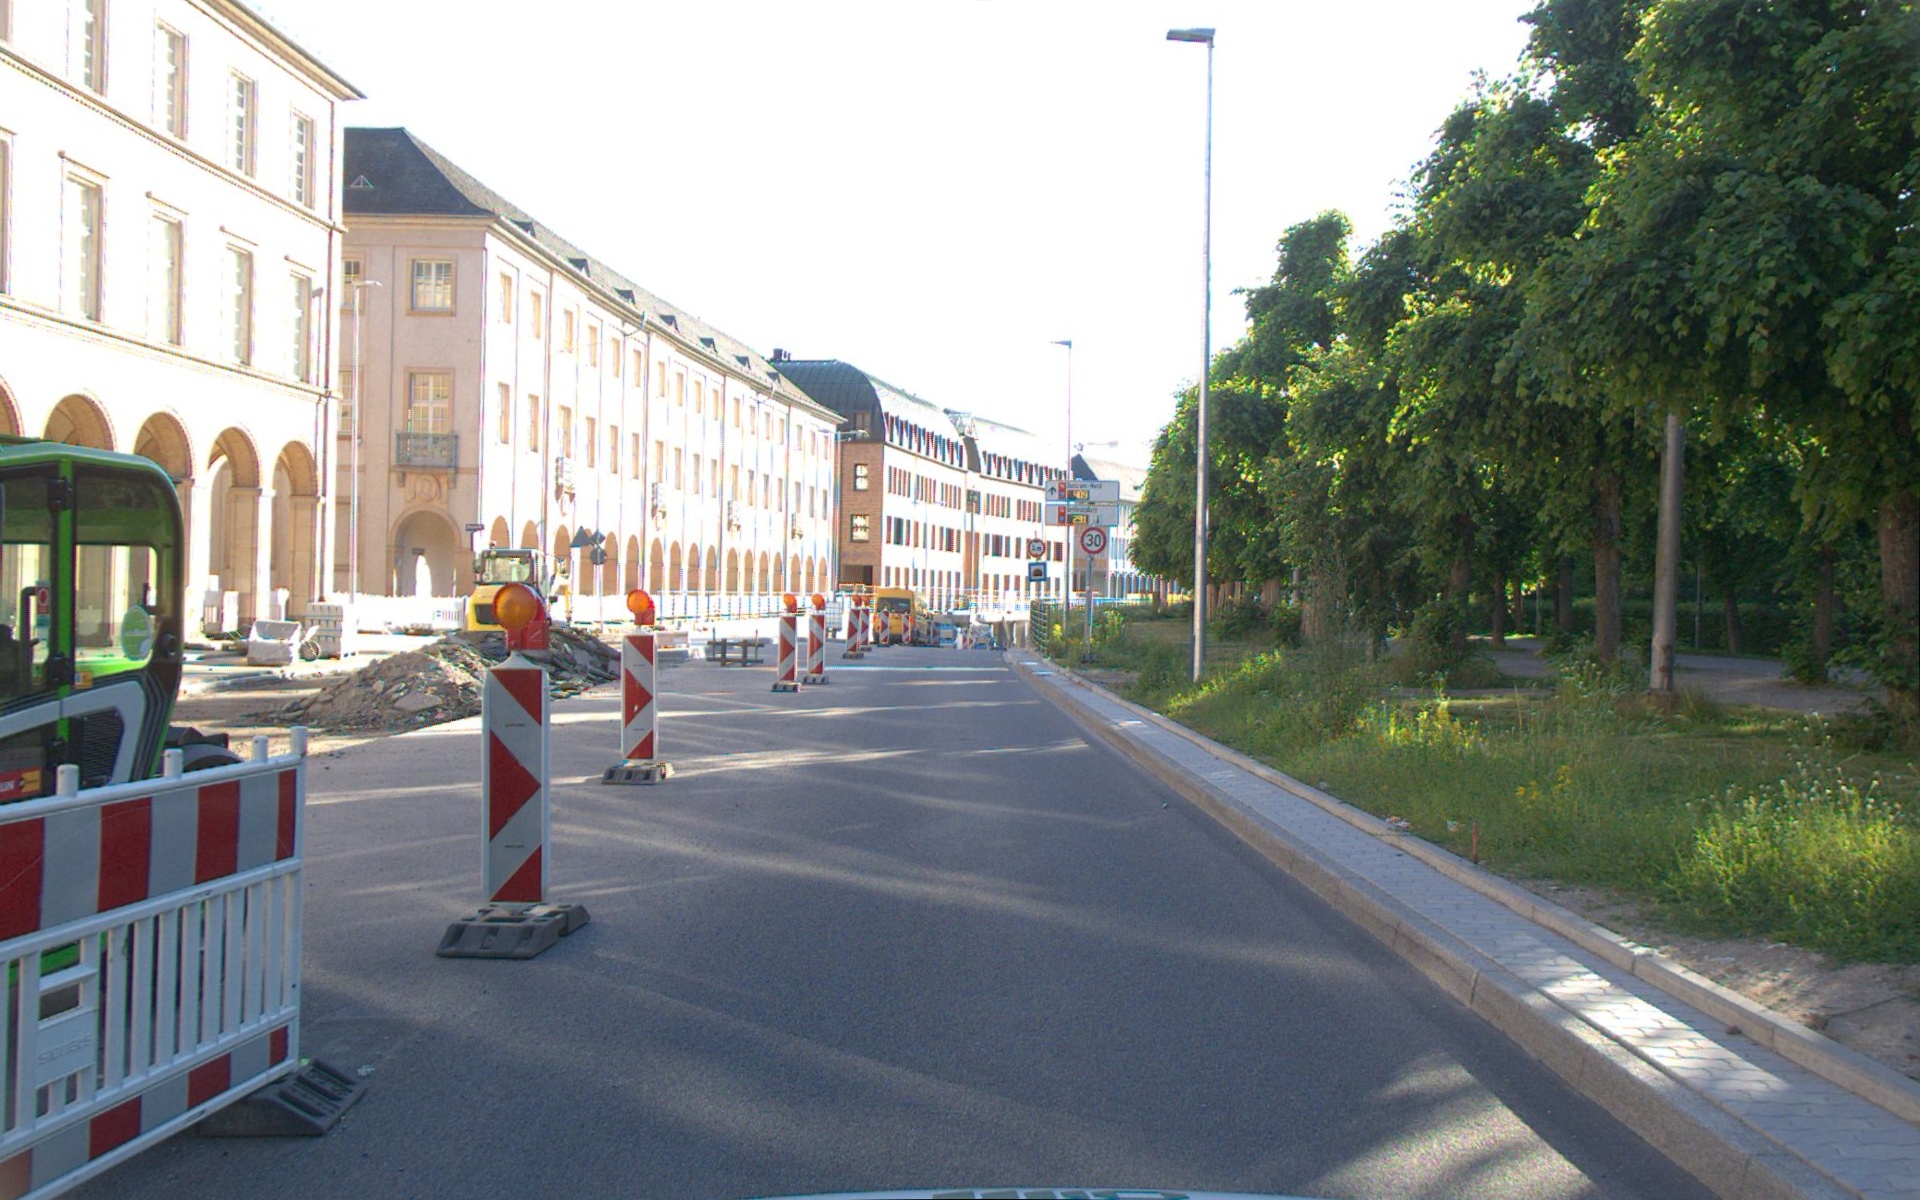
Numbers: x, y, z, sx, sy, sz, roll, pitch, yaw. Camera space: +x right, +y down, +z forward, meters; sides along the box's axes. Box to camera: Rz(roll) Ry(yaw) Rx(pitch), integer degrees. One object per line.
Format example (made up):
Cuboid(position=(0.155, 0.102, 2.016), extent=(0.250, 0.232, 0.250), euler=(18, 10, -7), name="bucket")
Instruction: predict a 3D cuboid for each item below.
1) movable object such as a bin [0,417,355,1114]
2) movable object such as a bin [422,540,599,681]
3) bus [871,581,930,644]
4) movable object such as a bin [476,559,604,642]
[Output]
Cuboid(position=(-3.712, 0.448, 4.929), extent=(2.007, 1.983, 4.337), euler=(1, 1, 3), name="movable object such as a bin")
Cuboid(position=(-8.676, 0.139, 32.373), extent=(2.031, 2.518, 4.618), euler=(1, 1, 2), name="movable object such as a bin")
Cuboid(position=(-2.658, 0.610, 75.380), extent=(2.029, 2.734, 4.686), euler=(1, -2, 6), name="bus")
Cuboid(position=(-12.825, 0.001, 50.813), extent=(2.492, 2.390, 4.462), euler=(1, 0, 4), name="movable object such as a bin")
